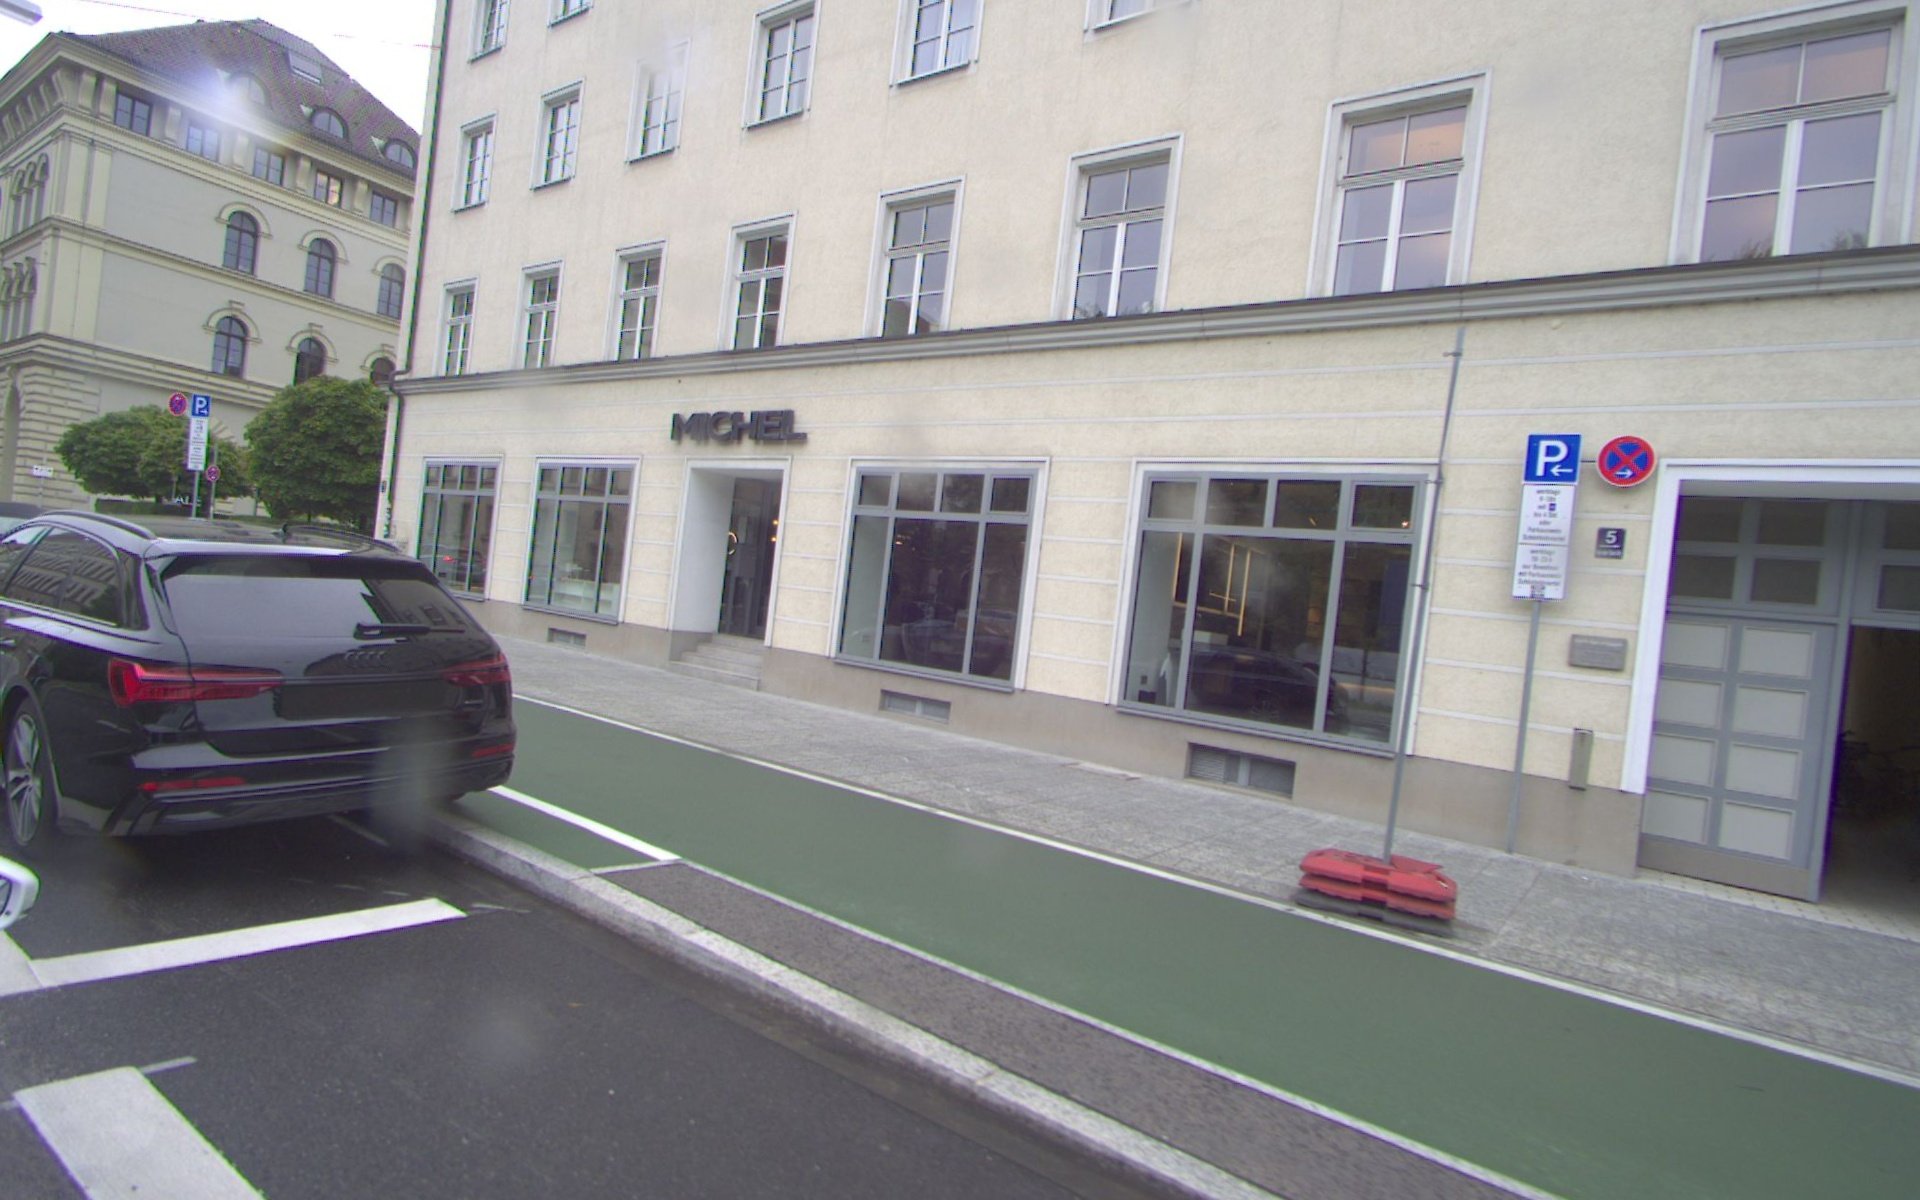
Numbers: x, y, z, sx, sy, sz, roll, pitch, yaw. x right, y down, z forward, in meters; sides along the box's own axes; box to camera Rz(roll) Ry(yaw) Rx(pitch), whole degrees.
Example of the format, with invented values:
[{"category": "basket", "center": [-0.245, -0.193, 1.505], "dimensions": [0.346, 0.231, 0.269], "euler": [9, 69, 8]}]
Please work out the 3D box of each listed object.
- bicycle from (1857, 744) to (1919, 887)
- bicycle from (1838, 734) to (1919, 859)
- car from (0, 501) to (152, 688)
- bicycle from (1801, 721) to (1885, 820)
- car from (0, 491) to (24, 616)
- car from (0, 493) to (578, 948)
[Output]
[{"category": "bicycle", "center": [9.457, 2.103, 9.897], "dimensions": [0.549, 1.192, 2.026], "euler": [7, 0, 34]}, {"category": "bicycle", "center": [10.704, 2.218, 11.573], "dimensions": [0.549, 1.192, 1.928], "euler": [7, 0, 34]}, {"category": "car", "center": [-9.374, -0.259, 9.307], "dimensions": [4.648, 1.424, 1.826], "euler": [7, -2, 38]}, {"category": "bicycle", "center": [12.632, 2.404, 14.439], "dimensions": [0.549, 1.192, 1.928], "euler": [7, 0, 34]}, {"category": "car", "center": [-13.849, -0.821, 13.138], "dimensions": [3.772, 1.538, 1.675], "euler": [7, -1, 38]}, {"category": "car", "center": [-4.226, 0.278, 5.488], "dimensions": [4.391, 1.501, 1.806], "euler": [7, 4, 35]}]
